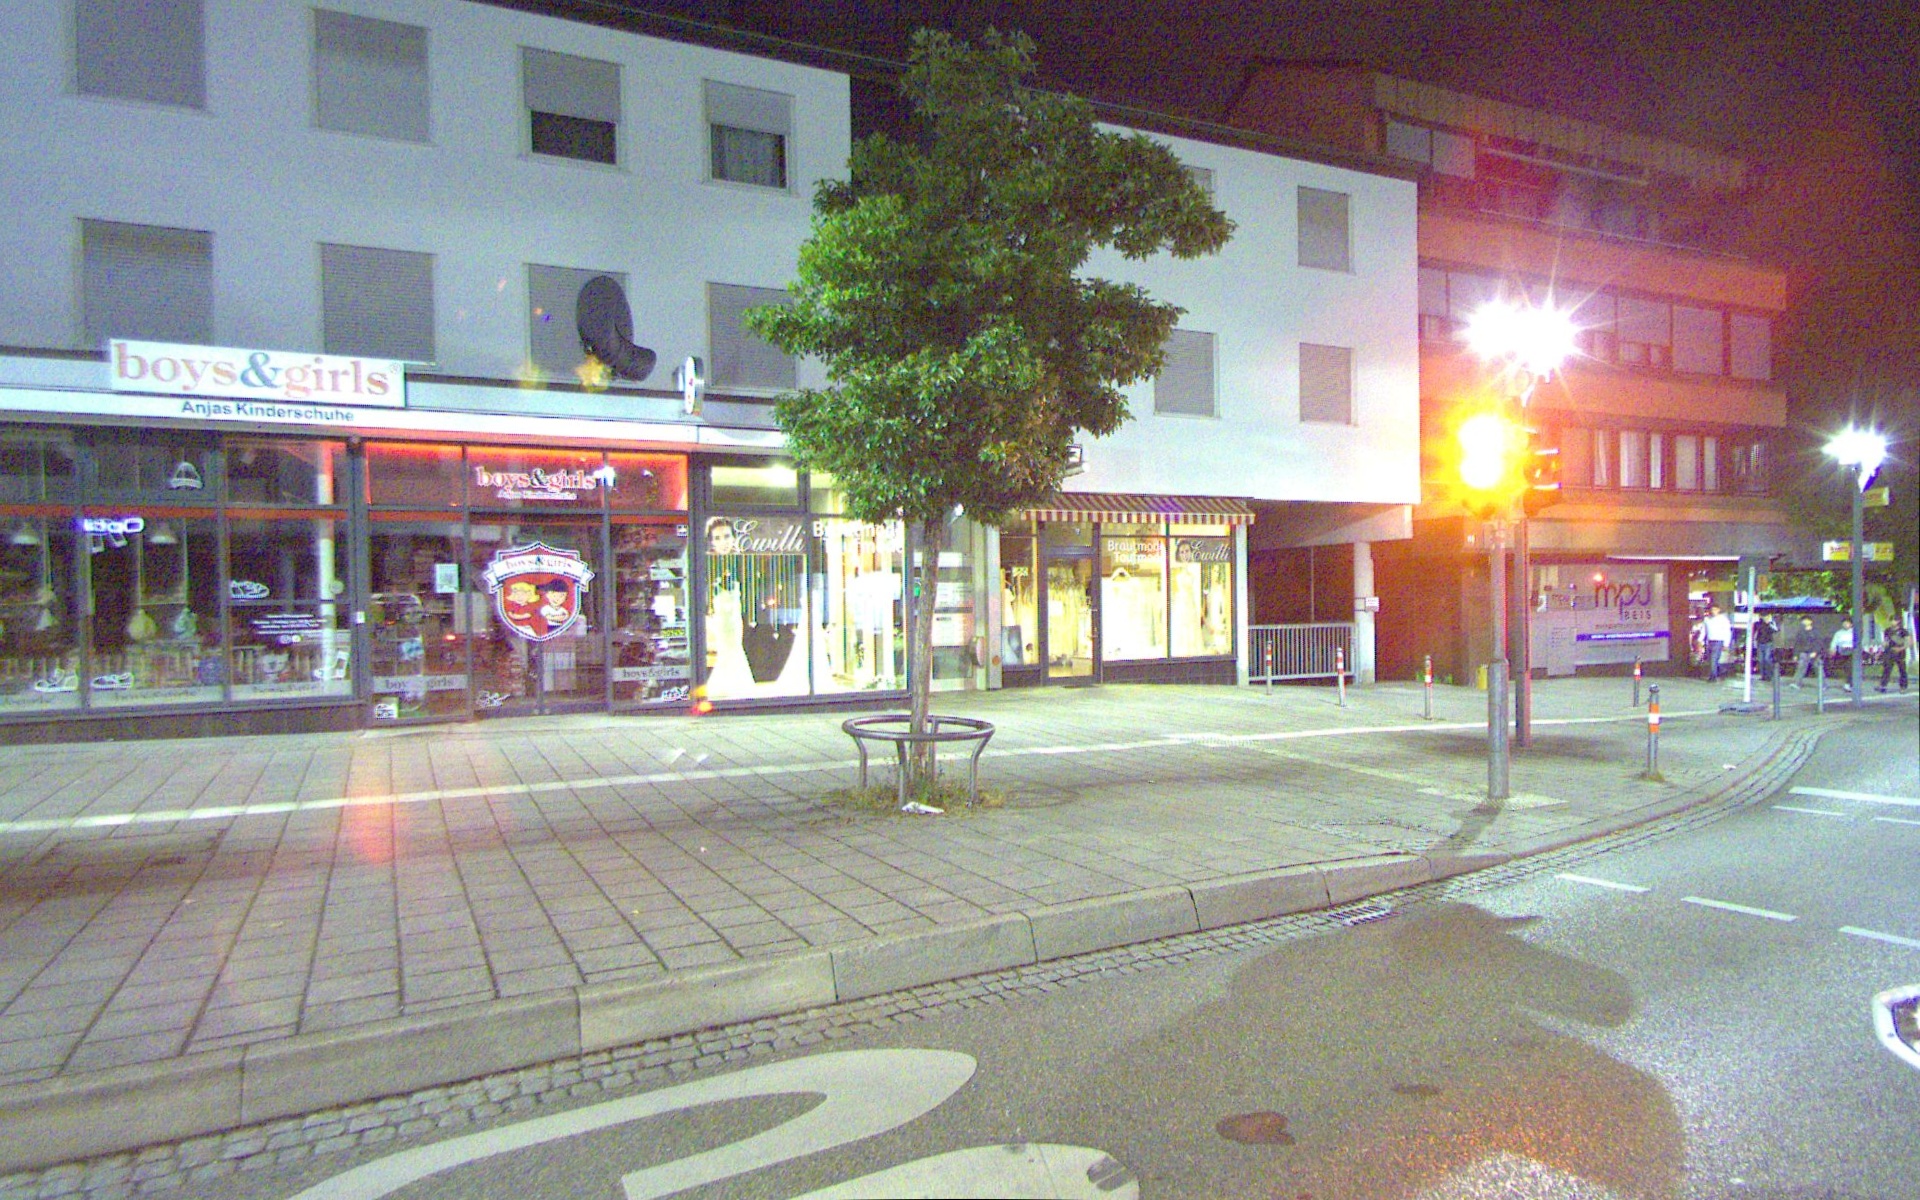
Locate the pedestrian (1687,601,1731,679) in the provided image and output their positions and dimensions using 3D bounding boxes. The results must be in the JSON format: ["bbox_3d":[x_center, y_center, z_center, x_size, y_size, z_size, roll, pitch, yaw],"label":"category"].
[{"bbox_3d":[17.962,0.963,24.084,0.565,1.819,0.709,3,-1,-41],"label":"pedestrian"}]

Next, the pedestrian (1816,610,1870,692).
[{"bbox_3d":[20.052,1.155,22.823,0.561,1.819,0.714,3,-1,-23],"label":"pedestrian"}]

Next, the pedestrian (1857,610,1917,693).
[{"bbox_3d":[21.076,1.166,22.842,0.726,1.819,0.715,3,-1,-19],"label":"pedestrian"}]

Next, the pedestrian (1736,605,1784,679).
[{"bbox_3d":[20.131,1.053,25.281,0.561,1.819,0.714,3,-1,-23],"label":"pedestrian"}]

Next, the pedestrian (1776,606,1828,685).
[{"bbox_3d":[19.732,1.058,23.539,0.561,1.819,0.714,3,-1,-23],"label":"pedestrian"}]
